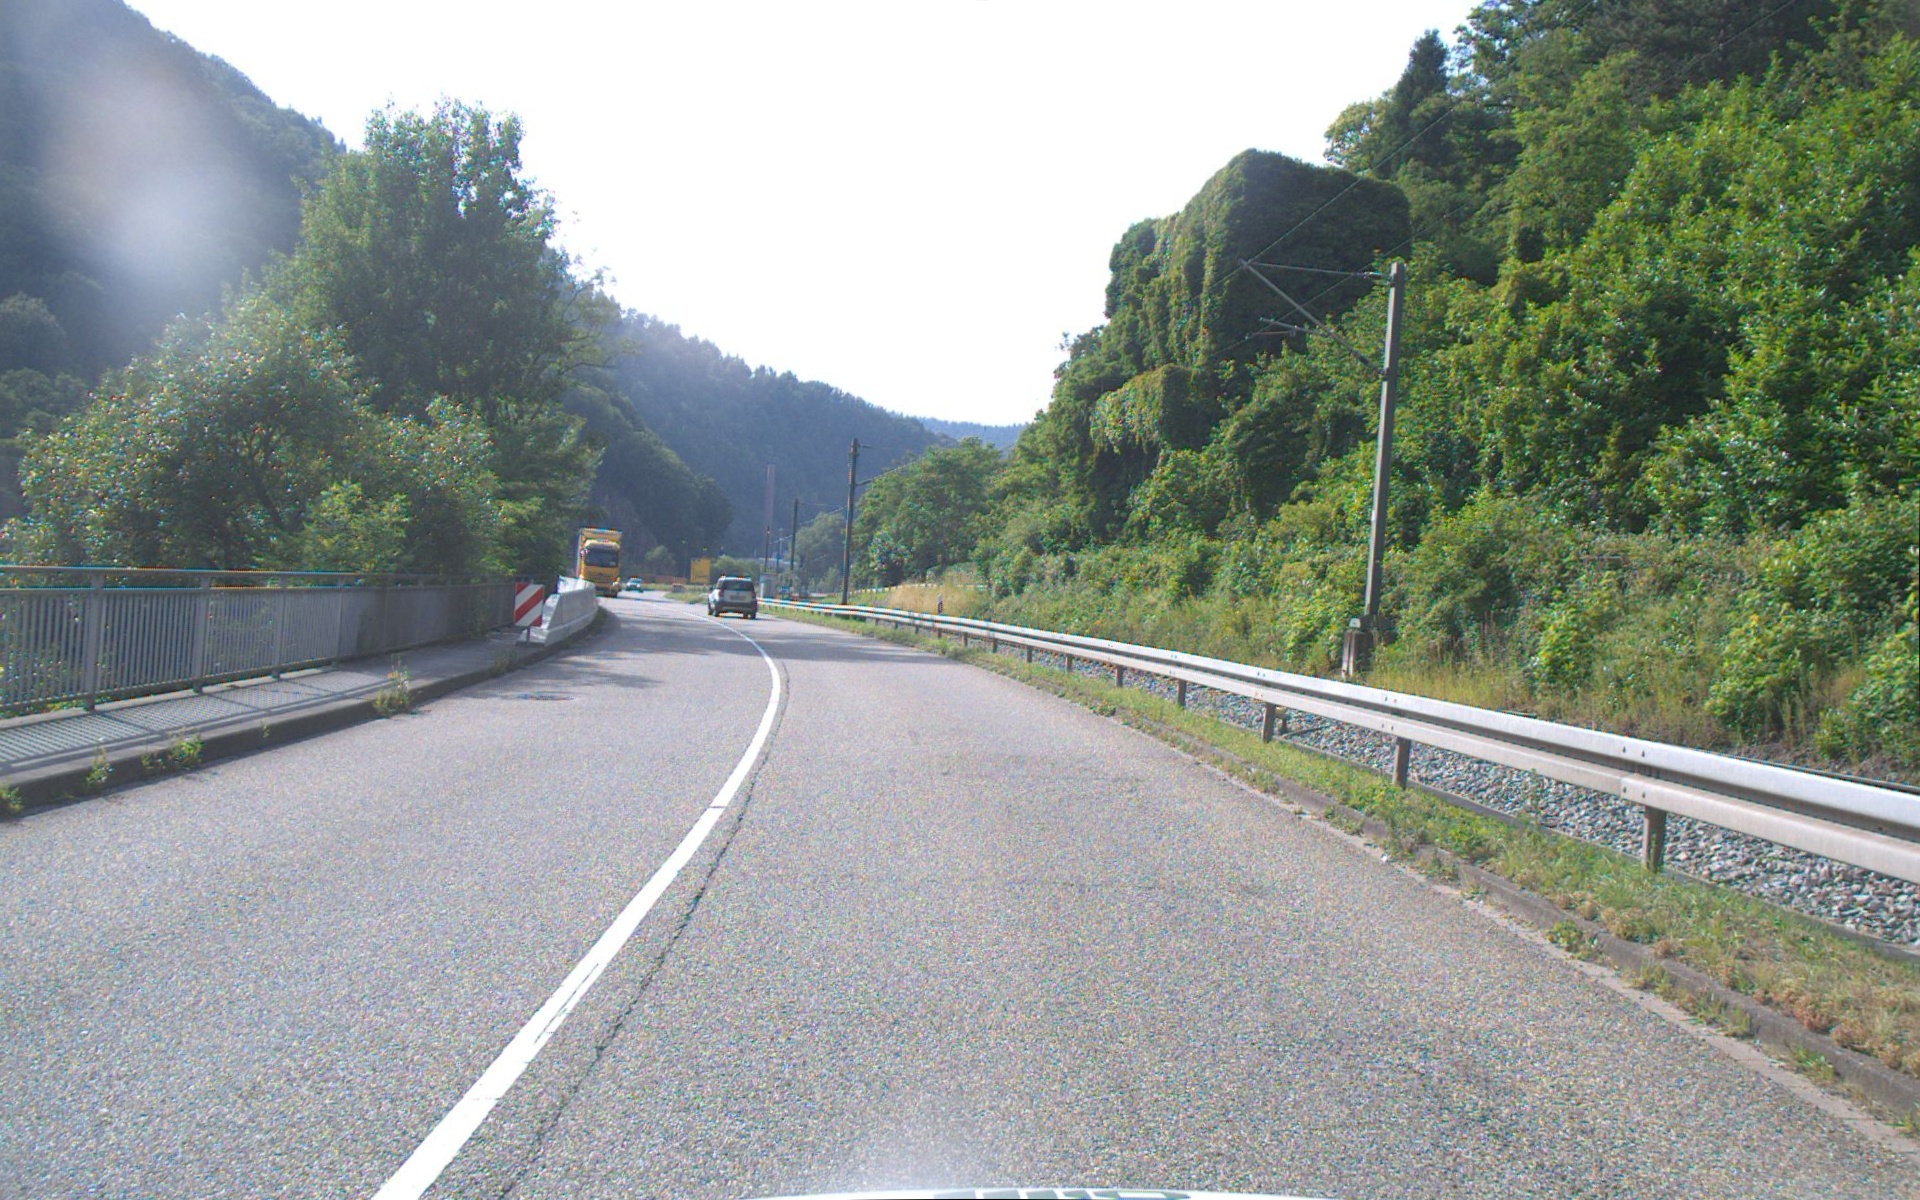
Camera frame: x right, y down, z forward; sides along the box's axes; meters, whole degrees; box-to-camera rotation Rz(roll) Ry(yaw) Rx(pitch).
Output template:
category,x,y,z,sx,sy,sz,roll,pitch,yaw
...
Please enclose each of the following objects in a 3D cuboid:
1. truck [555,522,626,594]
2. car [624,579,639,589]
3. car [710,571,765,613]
category,x,y,z,sx,sy,sz,roll,pitch,yaw
truck,-24.305,-2.646,108.342,3.317,4.460,12.643,1,0,-18
car,-40.797,-2.005,205.555,1.444,1.103,3.269,5,0,-6
car,-9.398,-0.345,69.658,1.841,1.685,3.986,2,0,-14
